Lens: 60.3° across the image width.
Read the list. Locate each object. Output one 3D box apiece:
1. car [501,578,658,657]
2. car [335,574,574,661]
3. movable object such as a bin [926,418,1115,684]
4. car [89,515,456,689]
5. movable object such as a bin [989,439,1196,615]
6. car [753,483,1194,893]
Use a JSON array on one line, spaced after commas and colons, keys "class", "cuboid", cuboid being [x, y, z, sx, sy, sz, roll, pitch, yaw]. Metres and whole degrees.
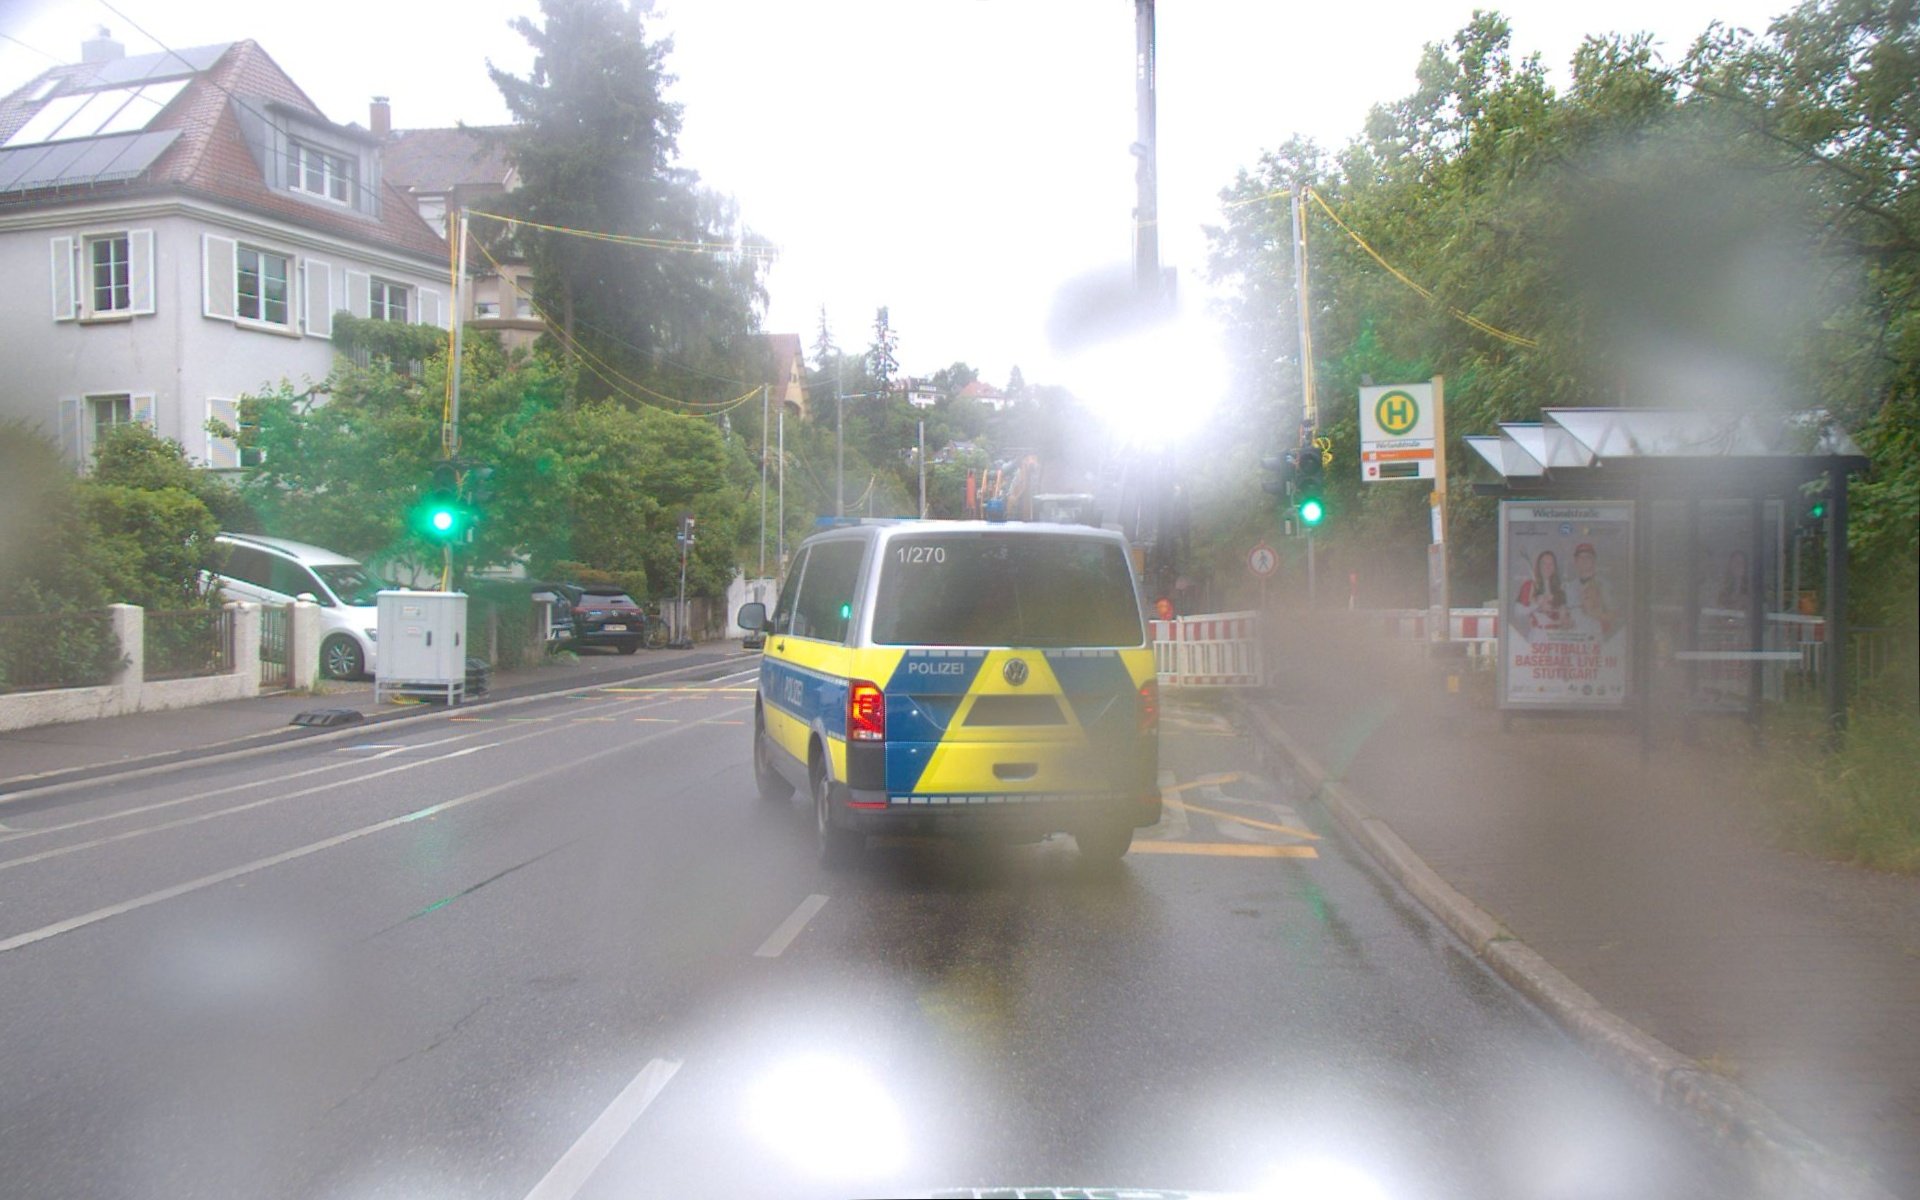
[{"class": "car", "cuboid": [-8.095, 0.341, 34.954, 1.768, 1.552, 3.947, 1, 0, -37]}, {"class": "car", "cuboid": [-9.631, 0.323, 31.641, 3.902, 1.552, 1.942, 1, -1, 14]}, {"class": "movable object such as a bin", "cuboid": [1.177, -0.818, 28.978, 2.817, 4.243, 4.491, -1, 1, 8]}, {"class": "car", "cuboid": [-10.357, -0.021, 24.990, 4.865, 1.642, 1.865, 11, 4, 15]}, {"class": "movable object such as a bin", "cuboid": [4.365, -2.163, 52.936, 3.617, 5.155, 7.143, -1, -1, 33]}, {"class": "car", "cuboid": [-0.172, 0.462, 10.631, 1.875, 2.046, 4.425, 1, 0, -12]}]
